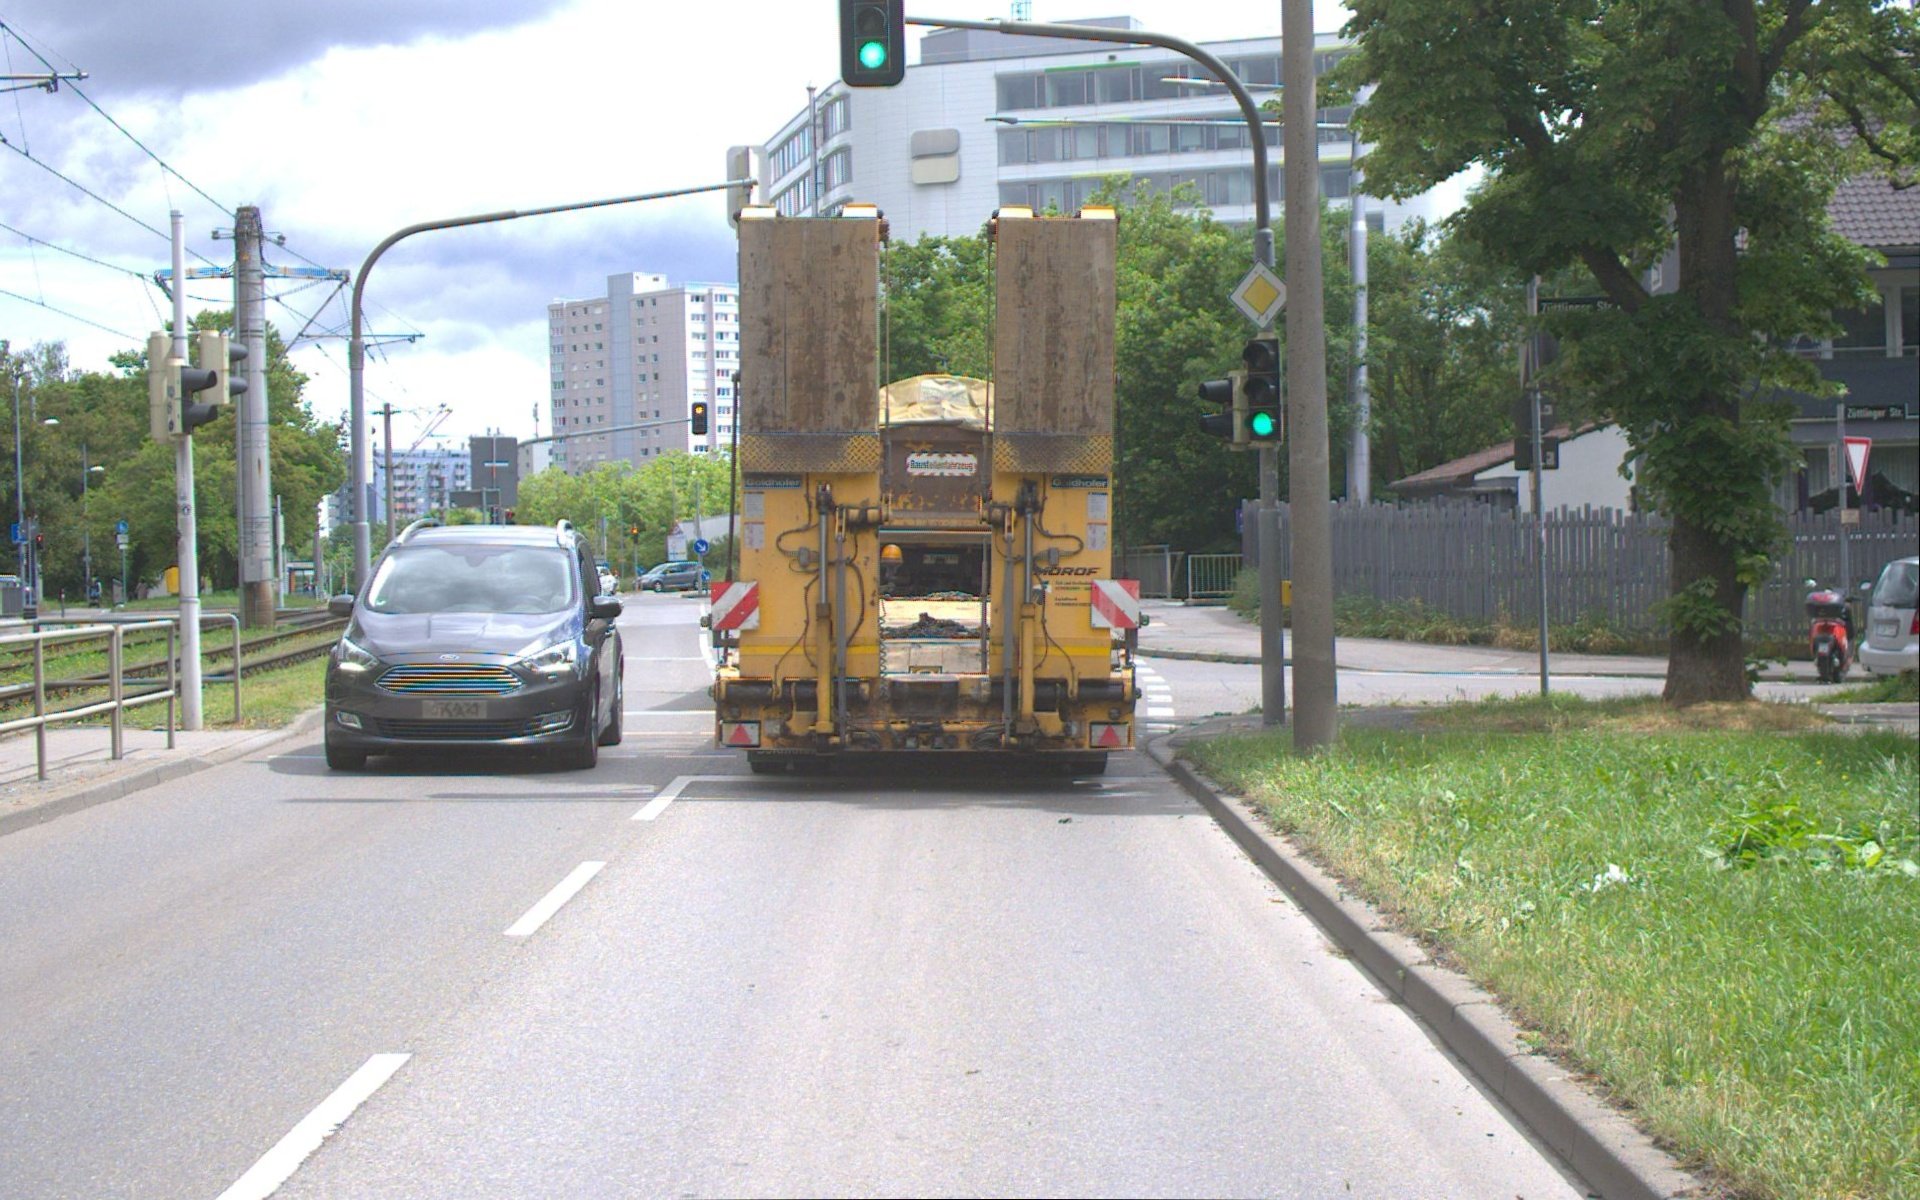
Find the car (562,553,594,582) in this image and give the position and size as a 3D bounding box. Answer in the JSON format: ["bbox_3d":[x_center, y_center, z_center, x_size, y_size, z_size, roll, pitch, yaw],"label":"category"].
[{"bbox_3d":[-20.344,-1.721,183.127,1.593,1.521,3.656,-1,0,-5],"label":"car"}]

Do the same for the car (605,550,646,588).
[{"bbox_3d":[-17.105,-1.570,175.743,1.993,1.919,4.001,1,0,-7],"label":"car"}]

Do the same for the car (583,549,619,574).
[{"bbox_3d":[-20.766,-2.230,198.582,1.993,1.415,4.001,1,0,-7],"label":"car"}]

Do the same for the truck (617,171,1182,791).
[{"bbox_3d":[-0.563,-0.739,26.530,3.316,3.638,12.563,0,0,-2],"label":"truck"}]

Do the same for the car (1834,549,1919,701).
[{"bbox_3d":[11.549,0.238,36.441,3.986,1.548,1.940,0,1,-8],"label":"car"}]

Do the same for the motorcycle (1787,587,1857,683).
[{"bbox_3d":[10.609,0.412,42.257,0.659,1.145,2.422,1,0,18],"label":"motorcycle"}]

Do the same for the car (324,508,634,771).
[{"bbox_3d":[-3.280,0.221,24.137,1.707,1.670,4.228,1,1,-2],"label":"car"}]
